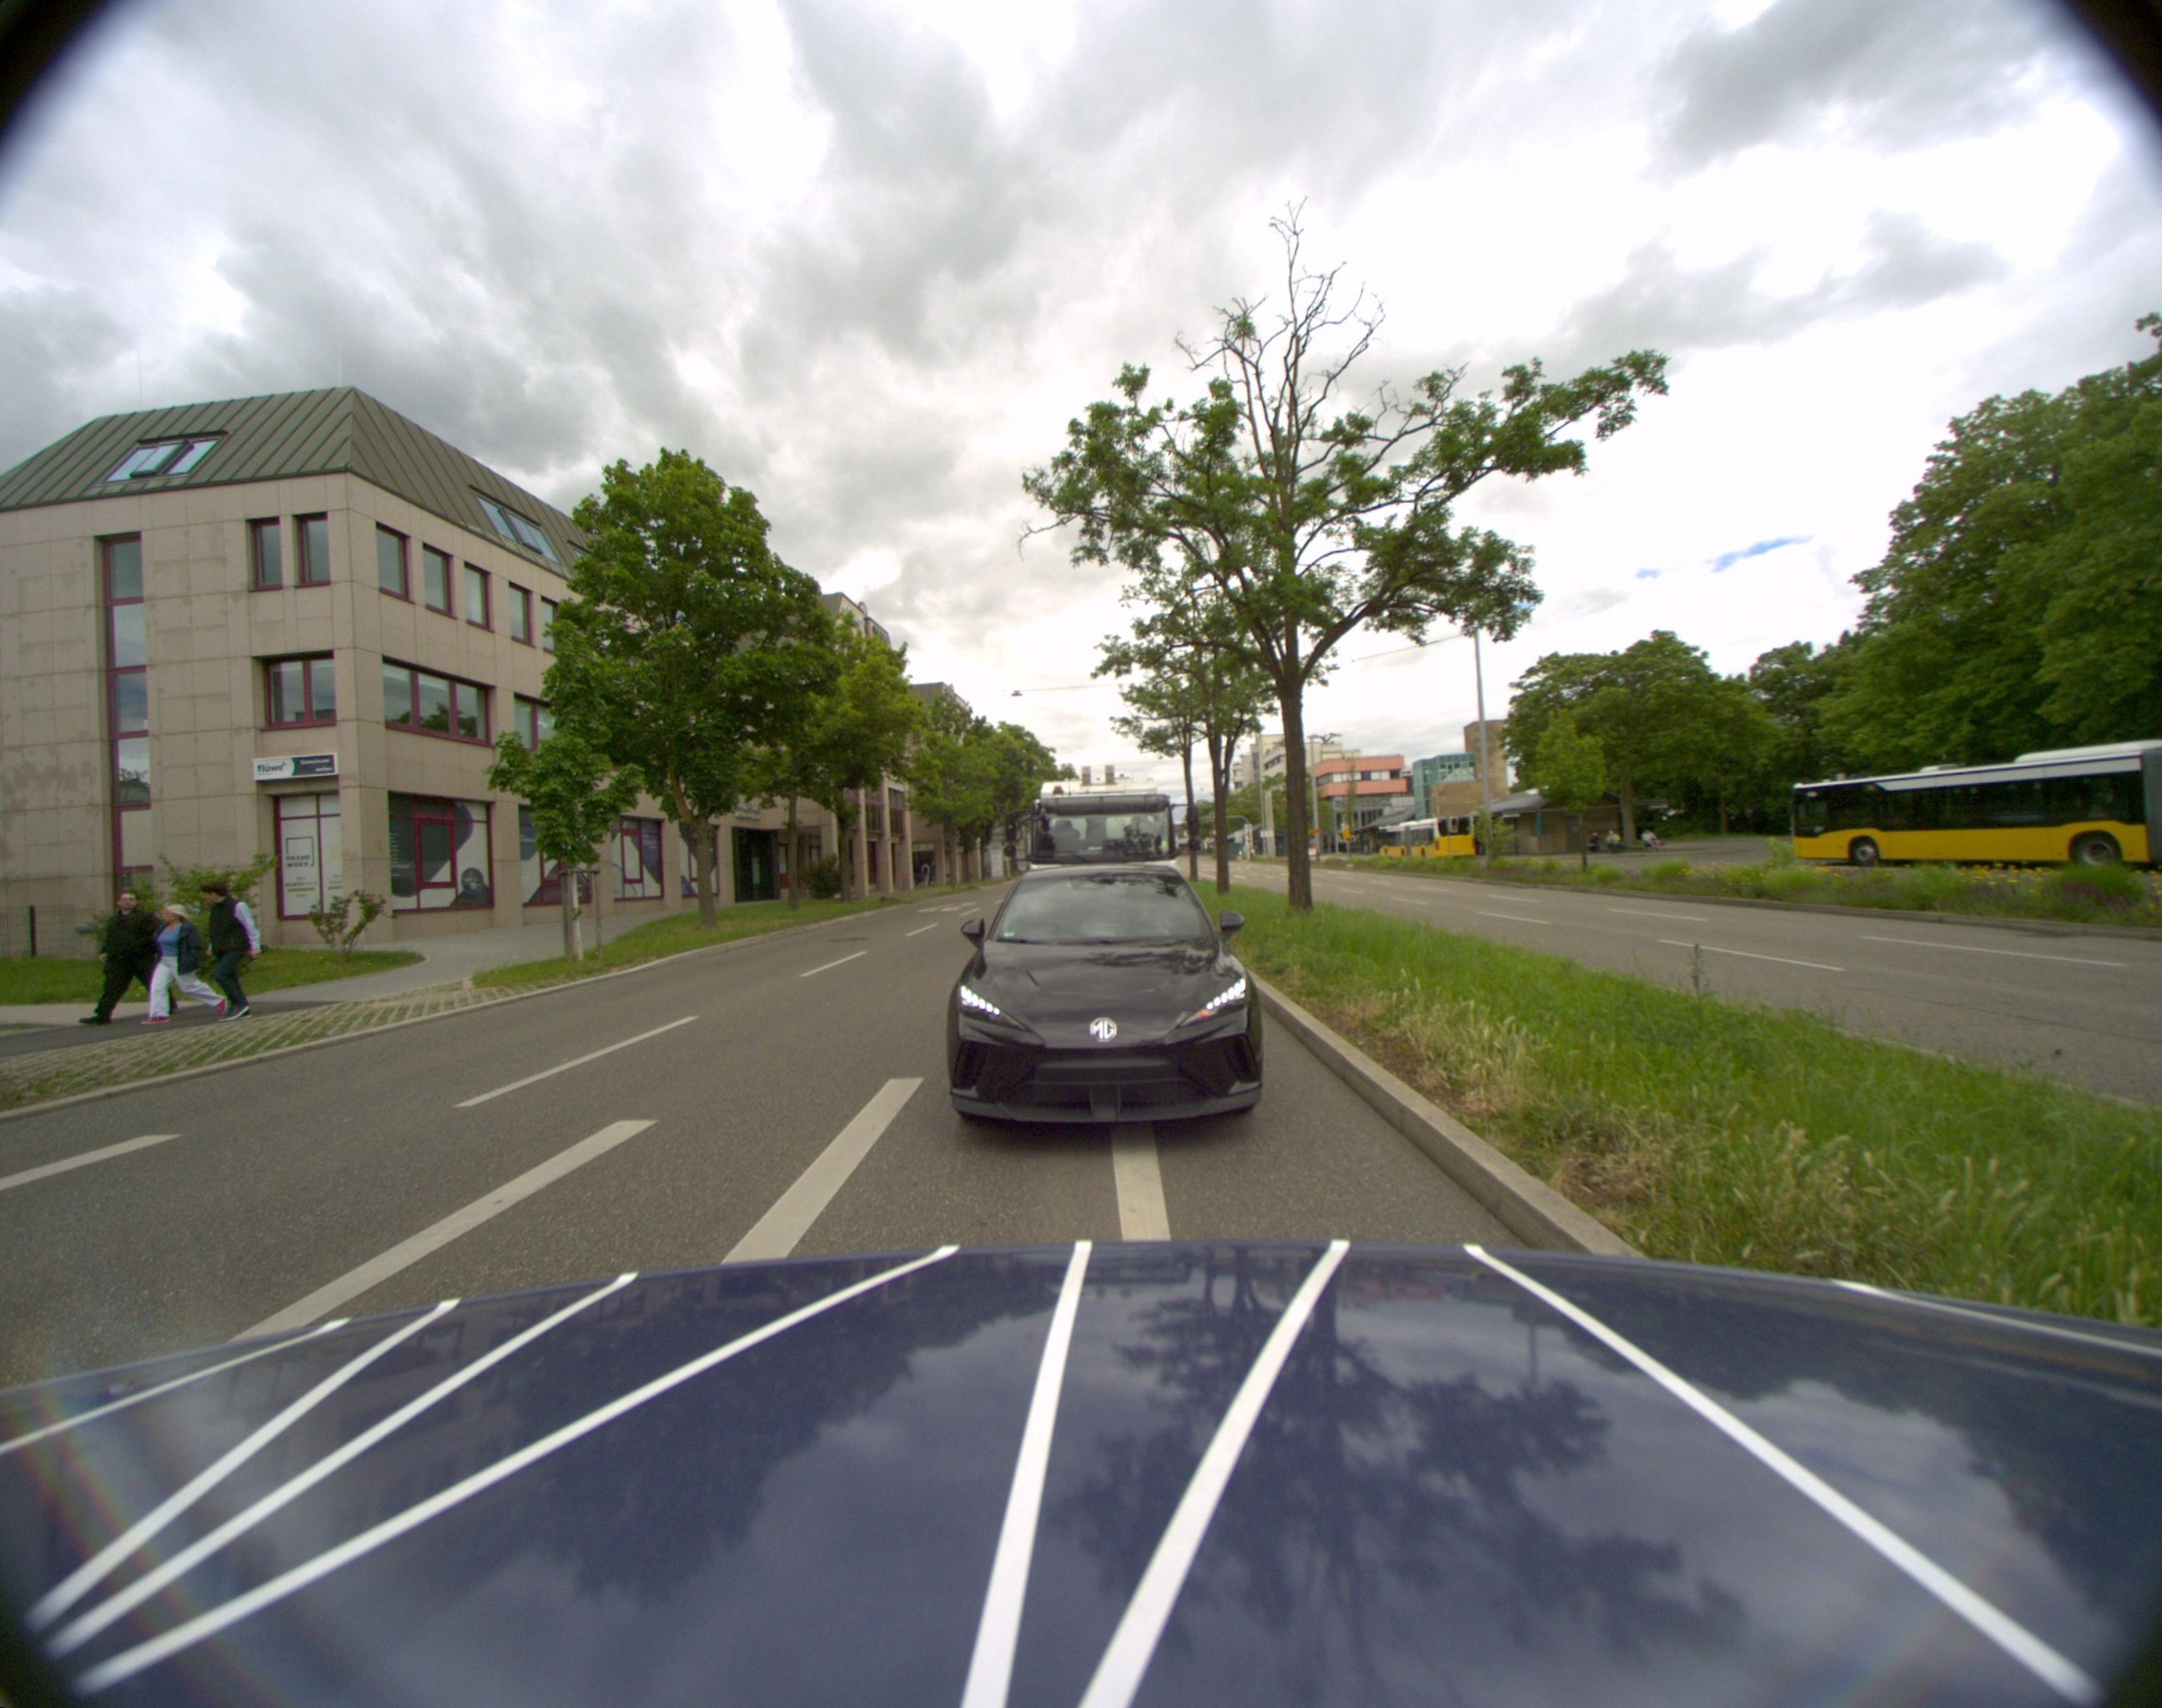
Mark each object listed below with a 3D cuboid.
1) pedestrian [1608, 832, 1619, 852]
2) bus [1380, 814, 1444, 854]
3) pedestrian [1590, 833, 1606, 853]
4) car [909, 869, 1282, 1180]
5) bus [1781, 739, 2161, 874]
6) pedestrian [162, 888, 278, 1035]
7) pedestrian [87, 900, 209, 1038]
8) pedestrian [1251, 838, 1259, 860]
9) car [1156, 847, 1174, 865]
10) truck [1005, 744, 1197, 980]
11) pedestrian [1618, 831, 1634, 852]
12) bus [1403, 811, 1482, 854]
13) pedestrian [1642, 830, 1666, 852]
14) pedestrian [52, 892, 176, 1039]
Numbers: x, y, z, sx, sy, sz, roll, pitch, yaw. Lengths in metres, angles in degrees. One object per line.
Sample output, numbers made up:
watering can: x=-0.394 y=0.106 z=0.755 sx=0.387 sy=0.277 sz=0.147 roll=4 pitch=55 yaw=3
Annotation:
pedestrian: x=30.391 y=-0.691 z=43.349 sx=0.367 sy=1.160 sz=0.899 roll=-2 pitch=1 yaw=26
bus: x=27.874 y=-1.607 z=64.461 sx=2.887 sy=2.985 sz=9.182 roll=-3 pitch=0 yaw=10
pedestrian: x=30.801 y=-0.661 z=45.286 sx=0.598 sy=1.155 sz=0.743 roll=-2 pitch=1 yaw=19
car: x=0.104 y=0.907 z=5.853 sx=1.827 sy=1.430 sz=4.000 roll=-3 pitch=0 yaw=1
bus: x=25.962 y=-1.127 z=21.802 sx=2.888 sy=2.985 sz=10.397 roll=-3 pitch=0 yaw=6
pedestrian: x=-11.154 y=1.361 z=9.863 sx=0.642 sy=1.794 sz=0.677 roll=-3 pitch=0 yaw=1
pedestrian: x=-11.952 y=1.445 z=9.754 sx=0.642 sy=1.637 sz=0.677 roll=-3 pitch=0 yaw=1
pedestrian: x=21.735 y=-0.612 z=94.974 sx=0.903 sy=2.772 sz=1.148 roll=-2 pitch=1 yaw=13
car: x=9.597 y=0.225 z=87.121 sx=1.726 sy=2.002 sz=4.001 roll=-3 pitch=0 yaw=3
truck: x=0.331 y=0.123 z=14.316 sx=2.544 sy=3.187 sz=7.369 roll=-3 pitch=0 yaw=1
pedestrian: x=30.855 y=-0.690 z=43.046 sx=0.598 sy=1.155 sz=0.744 roll=-2 pitch=1 yaw=26
bus: x=26.299 y=-1.473 z=55.747 sx=2.887 sy=2.793 sz=9.183 roll=-3 pitch=0 yaw=11
pedestrian: x=32.104 y=-0.724 z=42.562 sx=0.650 sy=1.165 sz=0.925 roll=-2 pitch=1 yaw=1
pedestrian: x=-12.578 y=1.416 z=9.904 sx=0.642 sy=1.794 sz=0.677 roll=-3 pitch=0 yaw=1
